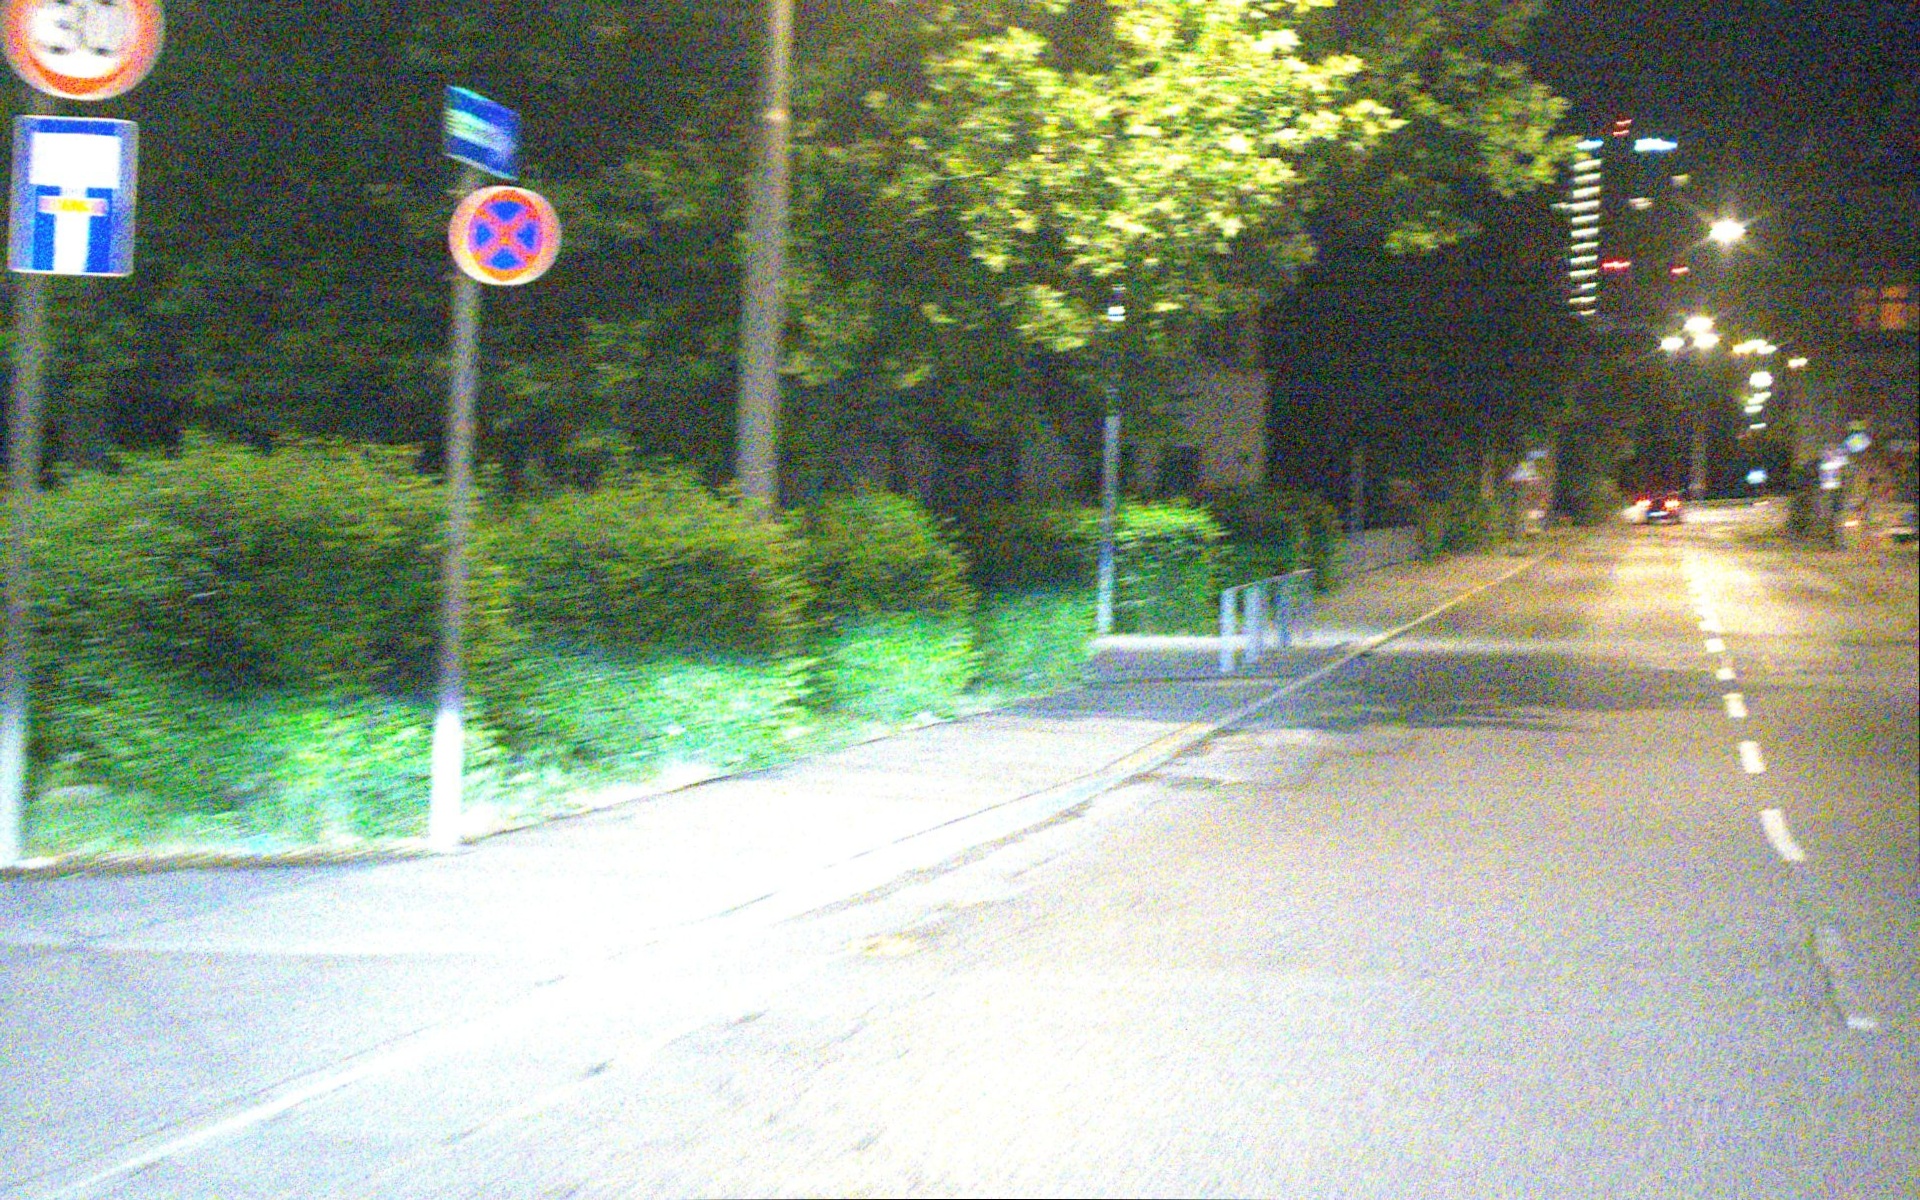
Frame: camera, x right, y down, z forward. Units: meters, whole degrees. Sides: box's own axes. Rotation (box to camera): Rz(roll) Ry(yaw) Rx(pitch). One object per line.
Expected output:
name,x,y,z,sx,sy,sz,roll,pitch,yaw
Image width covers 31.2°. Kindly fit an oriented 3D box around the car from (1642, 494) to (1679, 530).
car,38.800,-4.851,190.305,1.926,1.848,3.998,1,0,12
